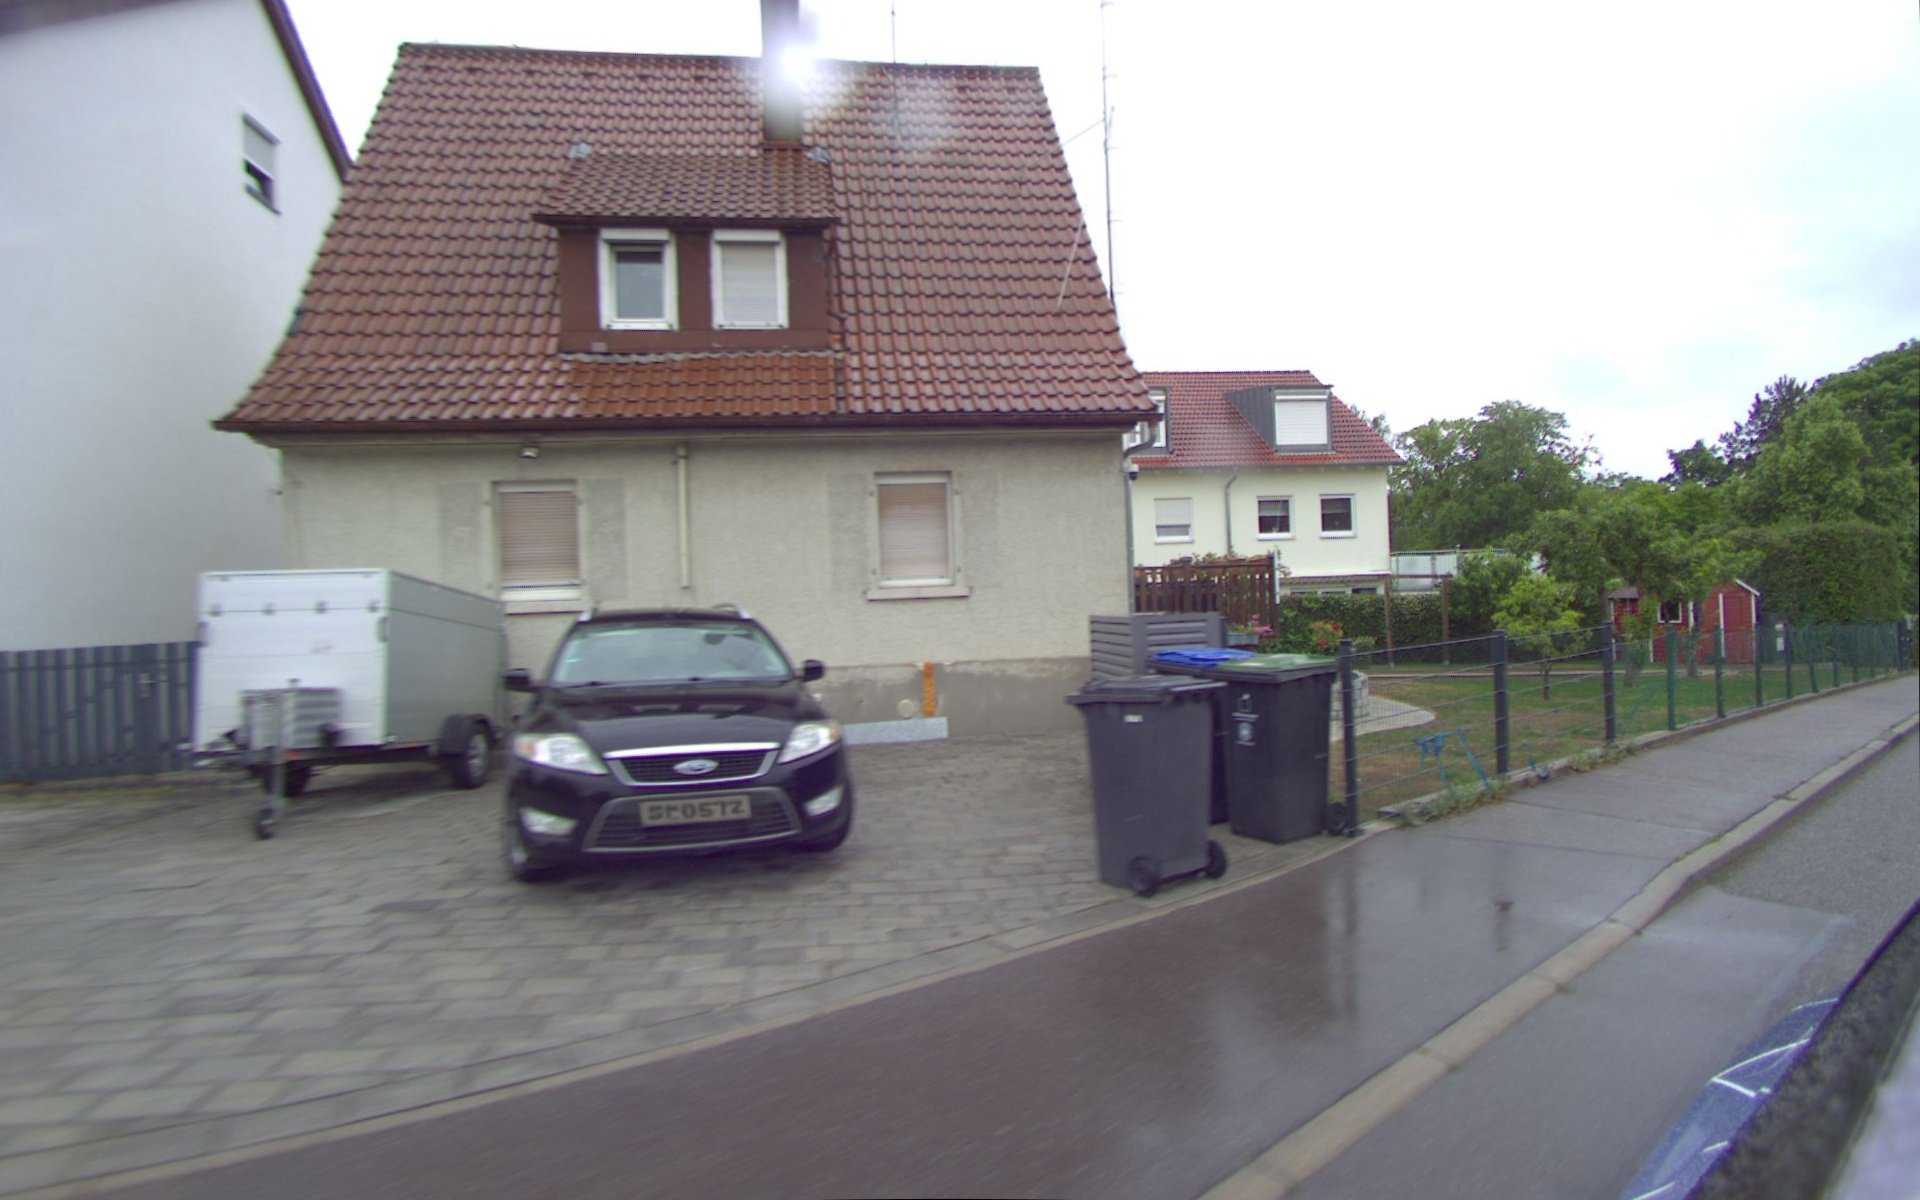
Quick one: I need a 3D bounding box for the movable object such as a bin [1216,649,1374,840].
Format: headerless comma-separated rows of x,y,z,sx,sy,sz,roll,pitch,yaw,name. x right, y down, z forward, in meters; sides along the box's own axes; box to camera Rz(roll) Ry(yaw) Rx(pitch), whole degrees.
1.998,0.829,6.067,0.718,1.034,0.532,1,0,-22,movable object such as a bin

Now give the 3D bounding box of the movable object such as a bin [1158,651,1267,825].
1.624,0.865,6.533,0.514,1.034,0.445,1,0,-23,movable object such as a bin

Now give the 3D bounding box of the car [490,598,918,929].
-2.028,0.780,6.870,1.958,1.402,4.579,-1,-2,-23,car

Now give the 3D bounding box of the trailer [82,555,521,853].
-4.905,0.672,8.140,1.653,1.821,3.467,-2,-1,-9,trailer

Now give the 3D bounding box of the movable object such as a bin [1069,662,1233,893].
0.971,0.862,5.184,0.530,1.034,0.629,1,0,-36,movable object such as a bin
